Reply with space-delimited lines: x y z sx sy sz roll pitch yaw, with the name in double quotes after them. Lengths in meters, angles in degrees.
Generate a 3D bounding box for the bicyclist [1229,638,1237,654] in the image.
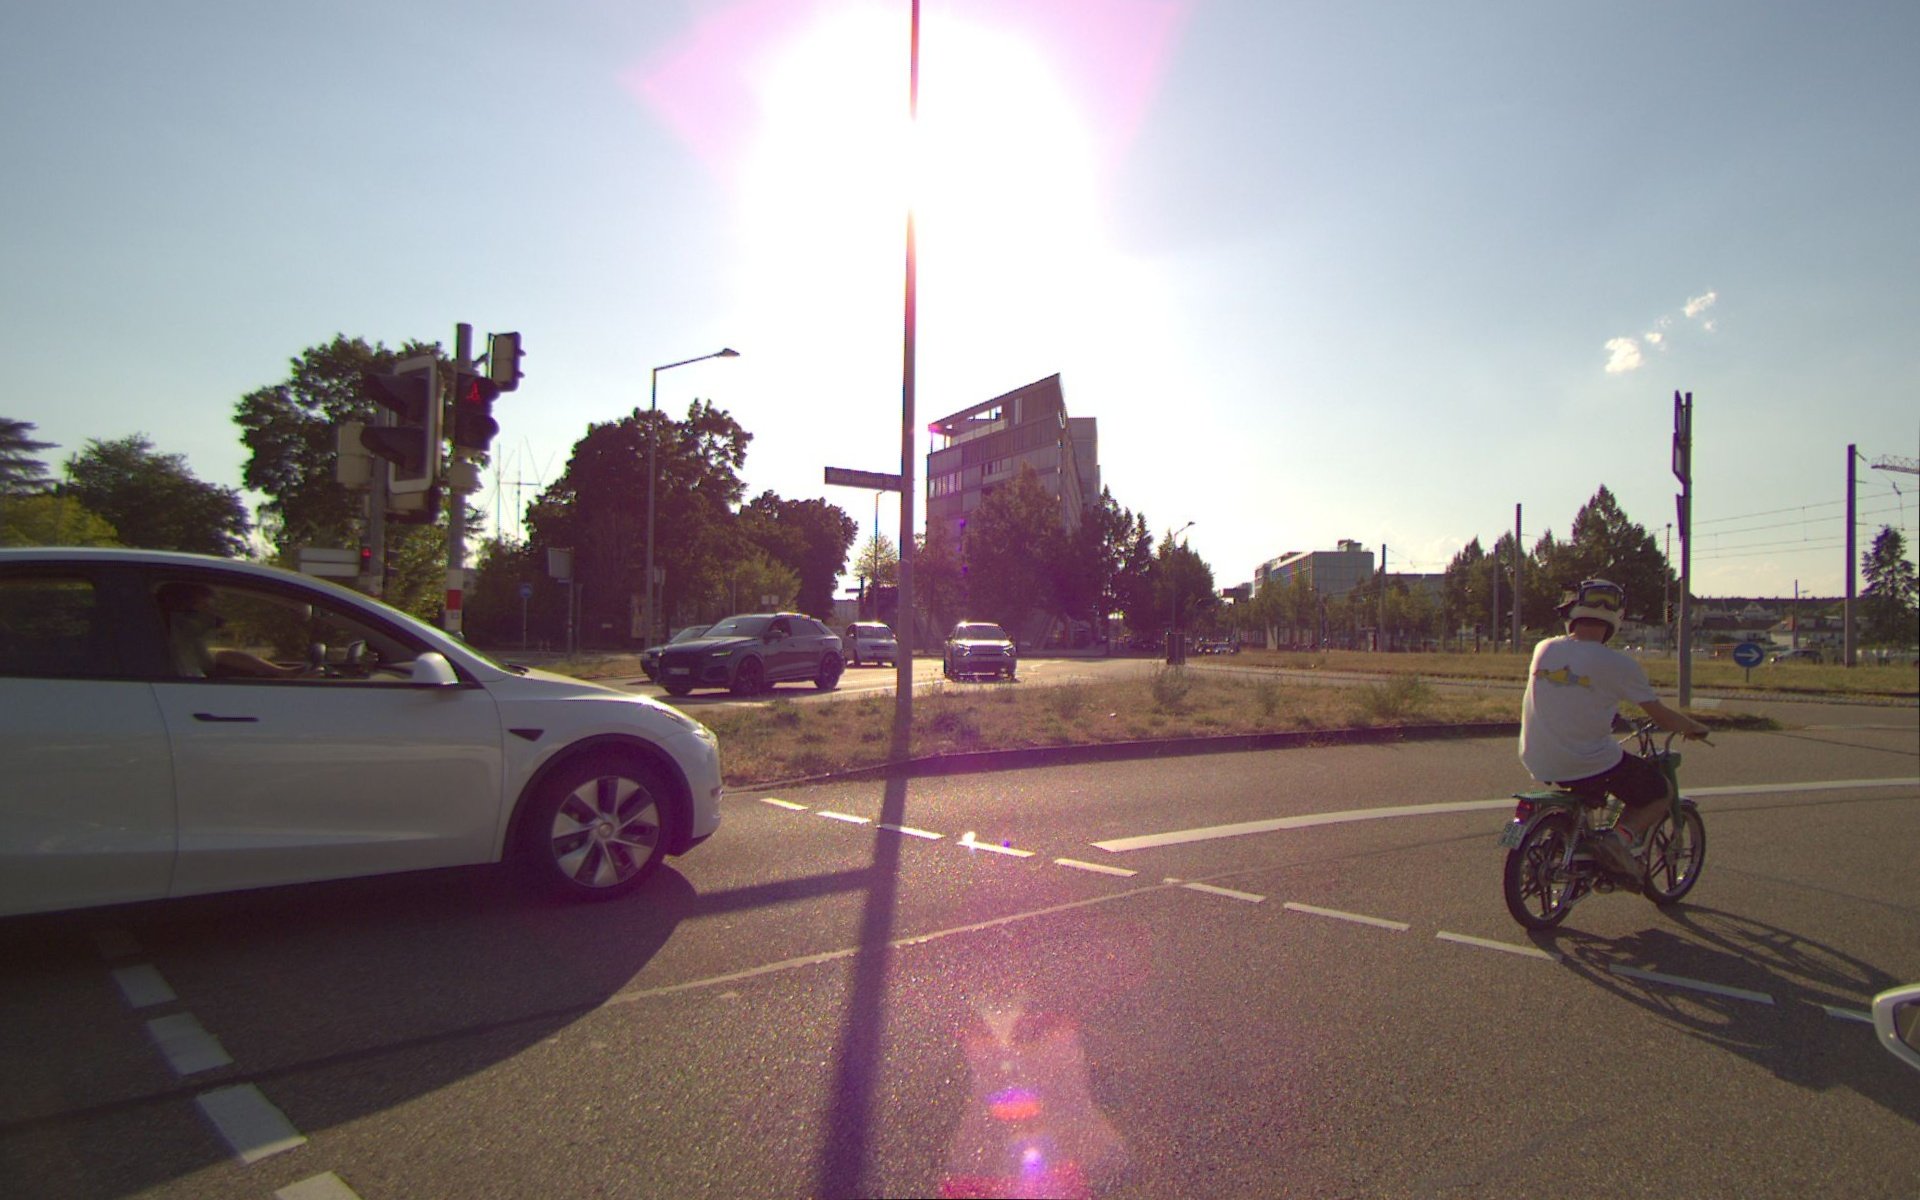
22.786 3.859 83.825 0.641 1.343 0.519 1 -1 9 "bicyclist"

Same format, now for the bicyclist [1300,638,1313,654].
29.893 3.964 86.661 0.939 1.375 0.693 1 -1 -4 "bicyclist"

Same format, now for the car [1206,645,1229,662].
25.538 5.303 99.806 1.959 1.495 4.003 1 -2 11 "car"

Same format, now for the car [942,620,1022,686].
0.540 1.433 28.317 1.743 1.695 4.196 1 -2 -6 "car"

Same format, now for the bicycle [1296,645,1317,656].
29.873 4.358 86.680 1.587 0.871 0.545 1 -1 -1 "bicycle"

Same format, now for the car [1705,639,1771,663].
63.851 4.188 82.504 3.923 1.840 1.999 0 -2 23 "car"

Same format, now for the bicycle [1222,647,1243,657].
22.745 4.318 83.823 1.687 0.754 0.481 1 -1 8 "bicycle"

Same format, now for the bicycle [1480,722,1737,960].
3.279 1.111 5.004 1.839 0.887 0.474 2 -1 -37 "bicycle"

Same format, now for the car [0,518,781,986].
-3.308 0.539 4.590 4.637 1.620 1.721 2 -1 -39 "car"

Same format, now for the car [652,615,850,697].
-4.242 1.141 21.225 1.622 1.532 4.641 -1 -2 25 "car"

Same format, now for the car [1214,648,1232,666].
24.230 5.243 92.629 1.454 1.495 3.302 1 -2 11 "car"

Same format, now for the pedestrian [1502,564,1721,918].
3.178 0.631 4.898 0.846 1.539 0.651 2 -2 -37 "pedestrian"

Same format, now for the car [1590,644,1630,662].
75.118 6.120 116.105 1.961 2.040 4.000 1 -2 -1 "car"

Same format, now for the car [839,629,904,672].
-3.399 1.882 38.095 1.630 1.545 3.929 1 -2 -17 "car"

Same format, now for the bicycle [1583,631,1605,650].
51.475 3.313 81.596 1.518 1.493 0.478 0 -2 33 "bicycle"

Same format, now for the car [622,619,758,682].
-7.046 1.310 26.597 1.620 1.532 3.829 0 -2 18 "car"

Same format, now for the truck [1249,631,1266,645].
72.304 9.325 244.389 3.074 3.273 7.179 1 -2 9 "truck"

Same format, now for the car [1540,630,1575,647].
74.260 4.792 124.851 1.961 2.040 4.000 1 -2 -1 "car"

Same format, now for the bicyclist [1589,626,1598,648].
51.487 3.011 81.621 0.598 1.694 0.477 1 -2 33 "bicyclist"
